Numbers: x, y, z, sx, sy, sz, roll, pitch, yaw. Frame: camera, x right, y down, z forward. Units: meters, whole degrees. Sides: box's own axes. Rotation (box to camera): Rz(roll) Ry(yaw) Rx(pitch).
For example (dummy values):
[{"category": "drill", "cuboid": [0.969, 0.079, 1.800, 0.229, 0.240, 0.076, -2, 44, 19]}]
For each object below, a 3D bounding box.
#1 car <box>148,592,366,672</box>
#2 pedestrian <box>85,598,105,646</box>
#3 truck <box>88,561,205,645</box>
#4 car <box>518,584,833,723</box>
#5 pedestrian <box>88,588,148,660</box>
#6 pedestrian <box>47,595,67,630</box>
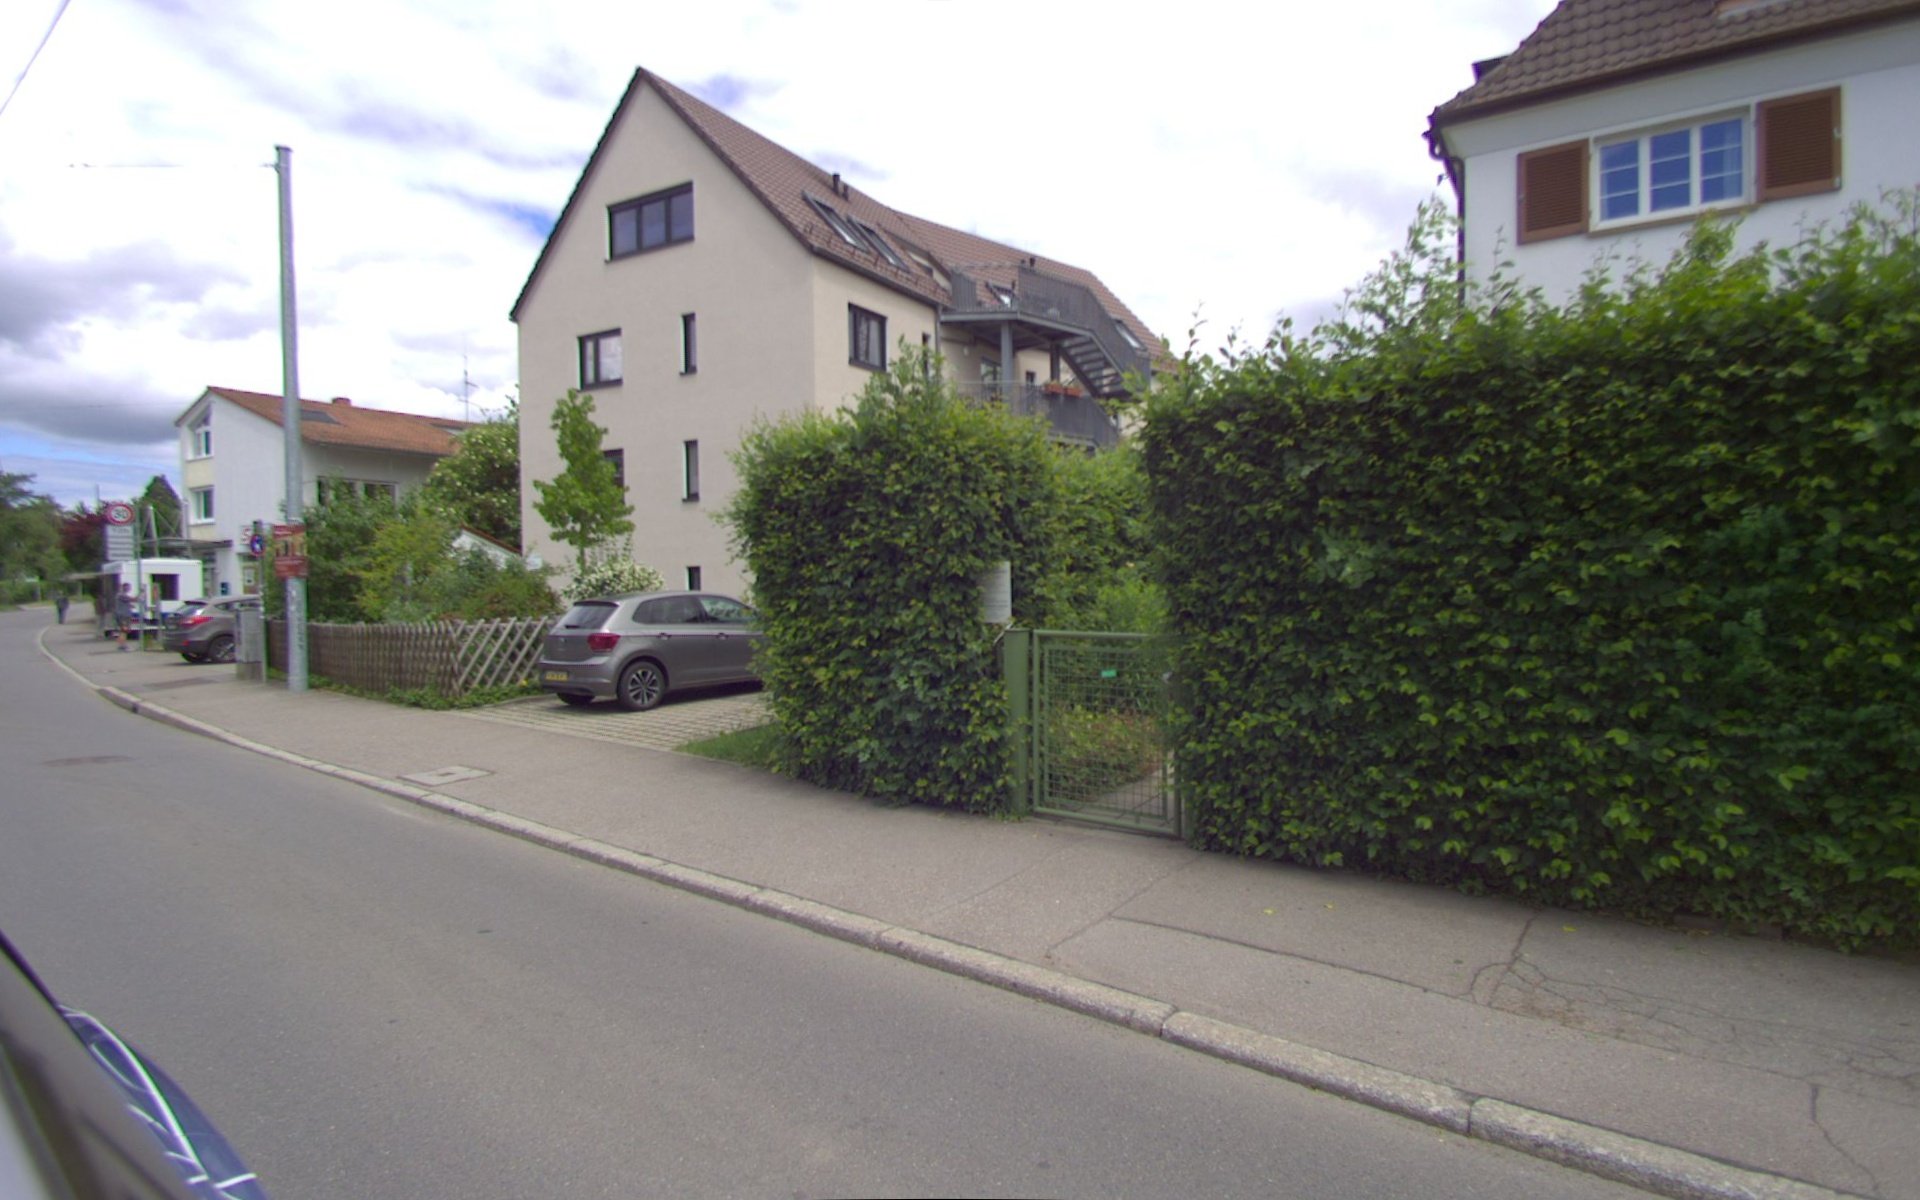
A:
[{"category": "car", "cuboid": [-18.246, 0.763, 26.463, 1.793, 1.708, 4.278, 0, 3, 33]}, {"category": "pedestrian", "cuboid": [-31.189, 0.777, 36.500, 0.597, 1.707, 0.397, 0, 3, 43]}, {"category": "truck", "cuboid": [-30.508, 0.050, 37.846, 6.708, 2.862, 2.446, 0, 2, 43]}, {"category": "car", "cuboid": [-3.705, 0.588, 13.602, 1.817, 1.444, 3.633, 0, 3, 42]}, {"category": "pedestrian", "cuboid": [-24.028, 0.664, 28.869, 1.199, 1.960, 0.736, -4, 3, -42]}, {"category": "pedestrian", "cuboid": [-48.166, 0.652, 53.966, 0.714, 1.698, 1.111, -4, 8, -42]}]
